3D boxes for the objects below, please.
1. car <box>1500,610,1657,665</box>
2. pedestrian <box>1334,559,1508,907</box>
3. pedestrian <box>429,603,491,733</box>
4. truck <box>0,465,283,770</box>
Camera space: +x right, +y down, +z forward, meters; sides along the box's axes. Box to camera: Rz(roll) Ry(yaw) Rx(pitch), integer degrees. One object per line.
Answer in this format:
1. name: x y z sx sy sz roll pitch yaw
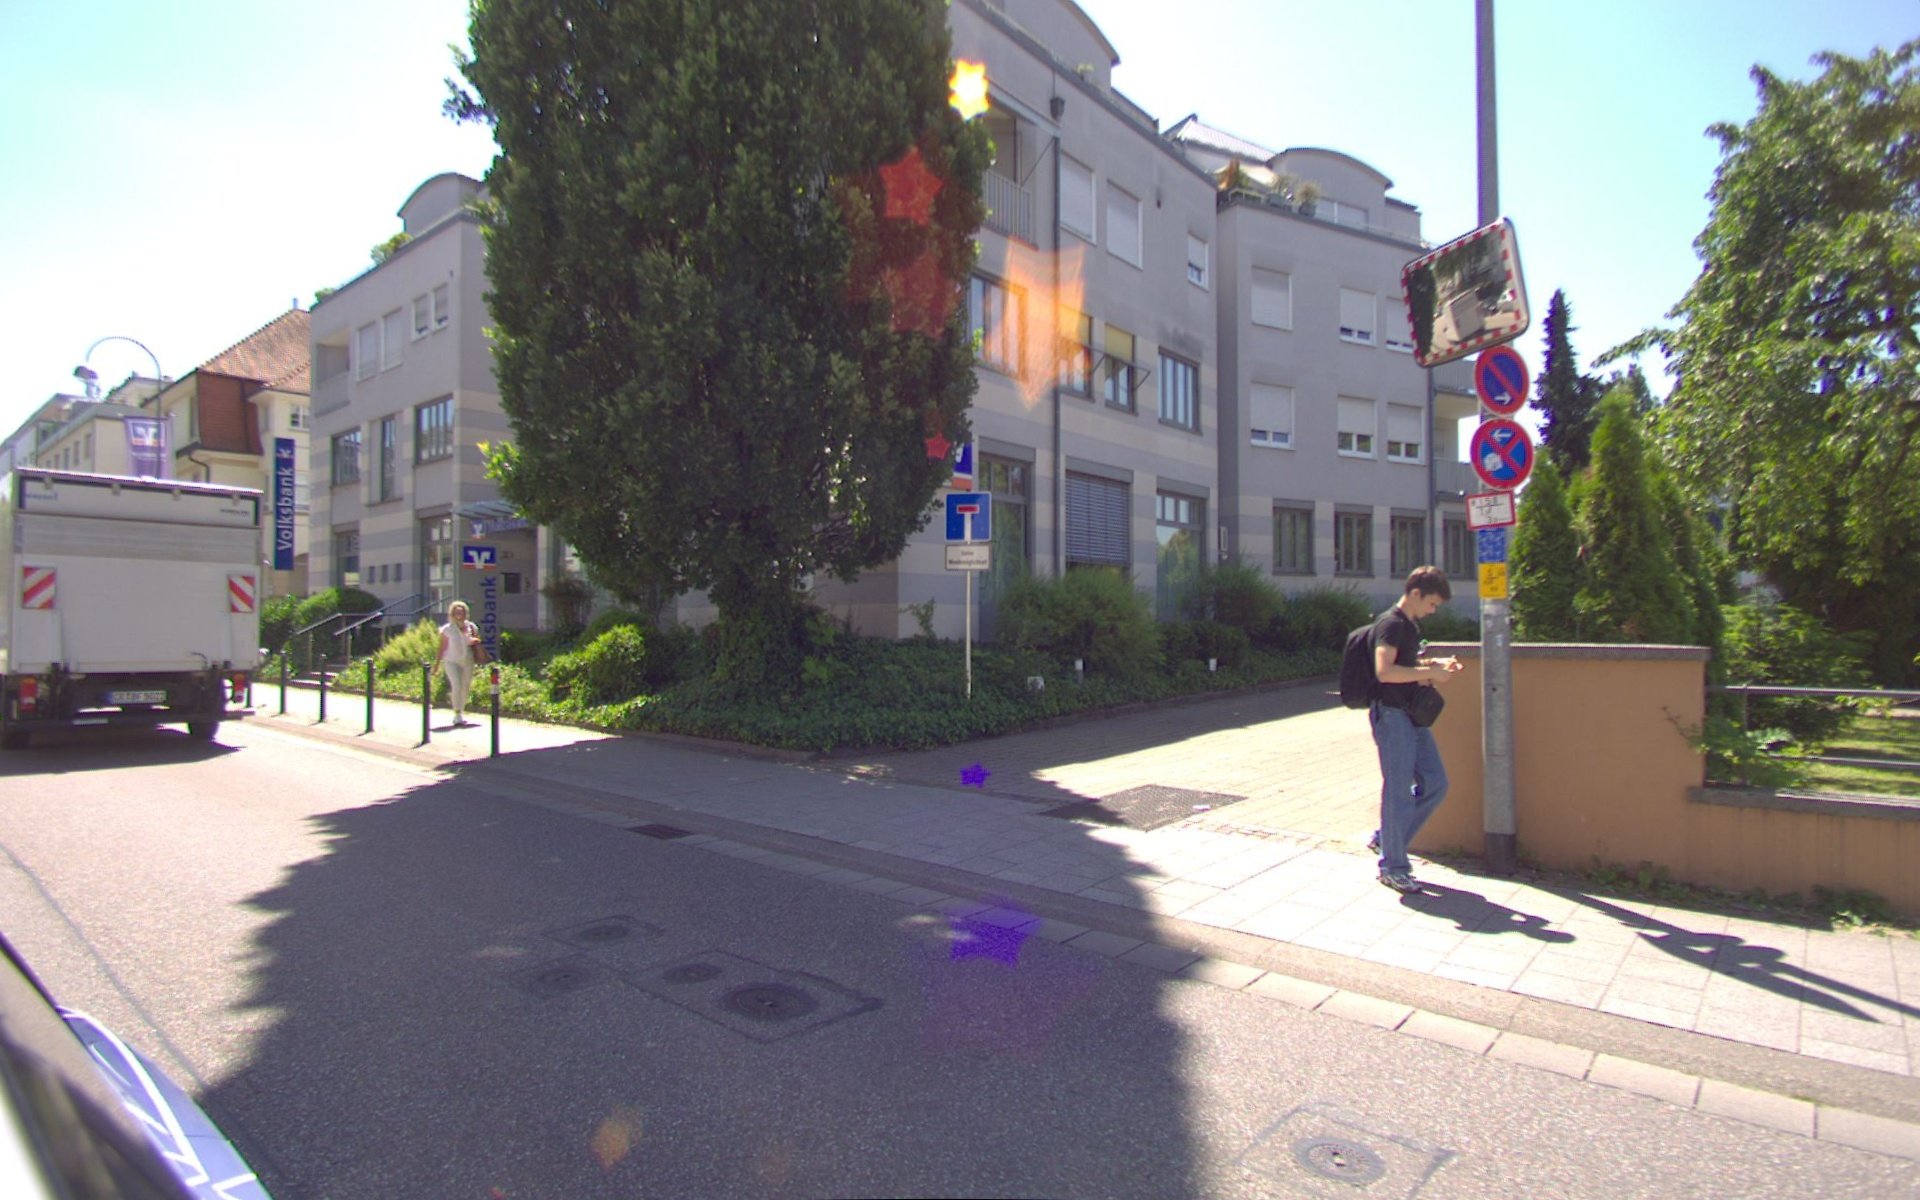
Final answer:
1. car: 17.967 1.065 29.554 1.473 1.493 3.624 0 -1 -31
2. pedestrian: 2.449 0.655 5.384 0.708 1.698 0.531 -1 -1 41
3. pedestrian: -6.773 0.895 13.707 0.708 1.698 0.531 -1 -1 41
4. truck: -11.033 0.246 12.923 6.254 3.006 2.394 -1 -2 41
